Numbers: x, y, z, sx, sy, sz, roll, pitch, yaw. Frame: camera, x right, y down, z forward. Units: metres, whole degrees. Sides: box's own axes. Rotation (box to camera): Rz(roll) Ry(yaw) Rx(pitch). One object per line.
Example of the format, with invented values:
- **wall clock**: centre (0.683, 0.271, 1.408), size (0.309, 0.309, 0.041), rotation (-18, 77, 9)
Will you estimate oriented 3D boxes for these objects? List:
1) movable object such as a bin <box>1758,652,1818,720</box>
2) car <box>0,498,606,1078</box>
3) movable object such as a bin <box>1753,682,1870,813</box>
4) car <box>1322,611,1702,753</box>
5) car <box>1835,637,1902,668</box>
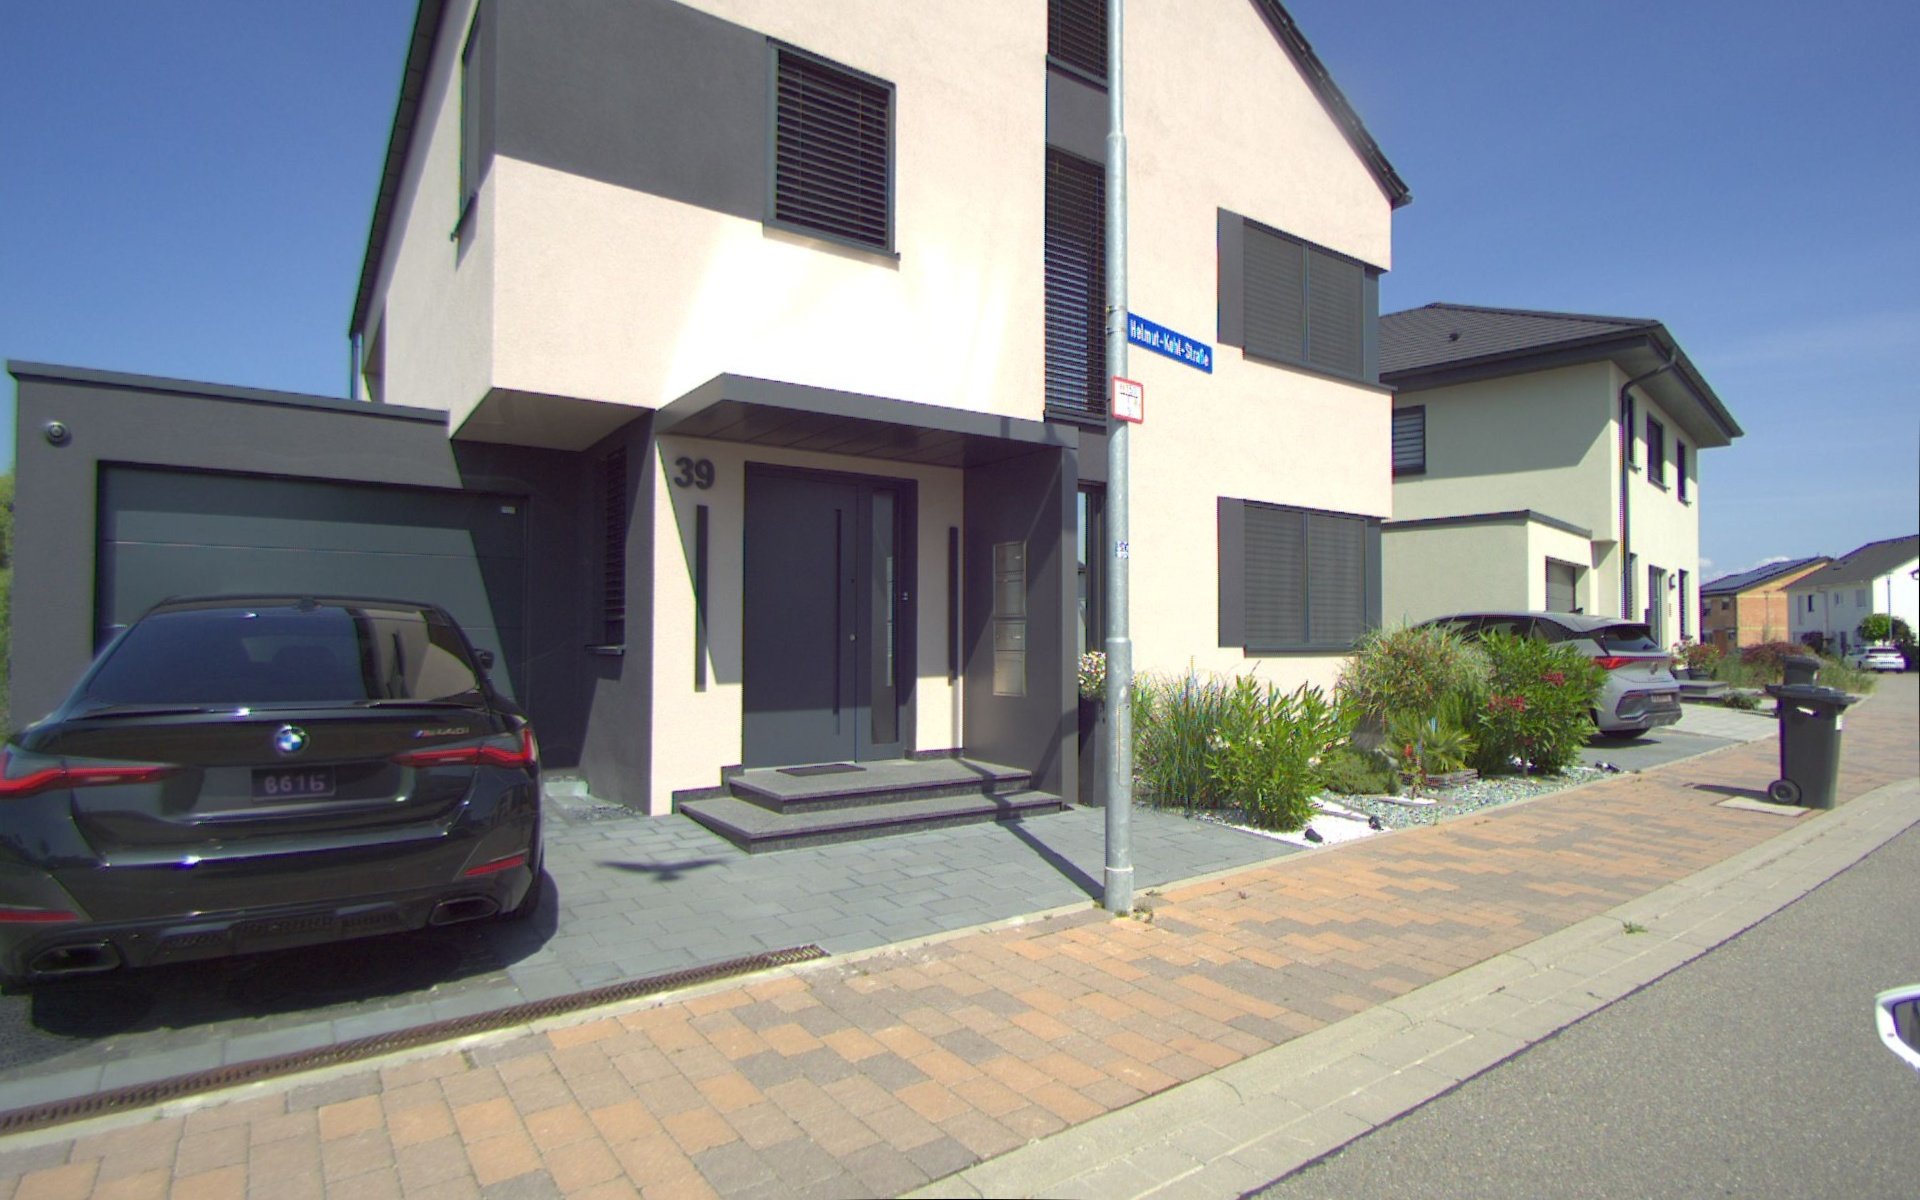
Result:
- **movable object such as a bin**: centre (12.262, 1.260, 14.876), size (0.420, 0.939, 0.608), rotation (3, 0, -43)
- **car**: centre (-3.255, 0.579, 5.141), size (1.752, 1.653, 4.350), rotation (1, -1, -33)
- **movable object such as a bin**: centre (6.750, 1.147, 7.974), size (0.519, 0.948, 0.533), rotation (1, 0, -24)
- **car**: centre (6.839, 0.929, 12.878), size (1.734, 1.506, 3.967), rotation (1, -2, -31)
- **car**: centre (49.698, 2.861, 55.034), size (1.753, 1.617, 3.995), rotation (-1, -3, 28)
